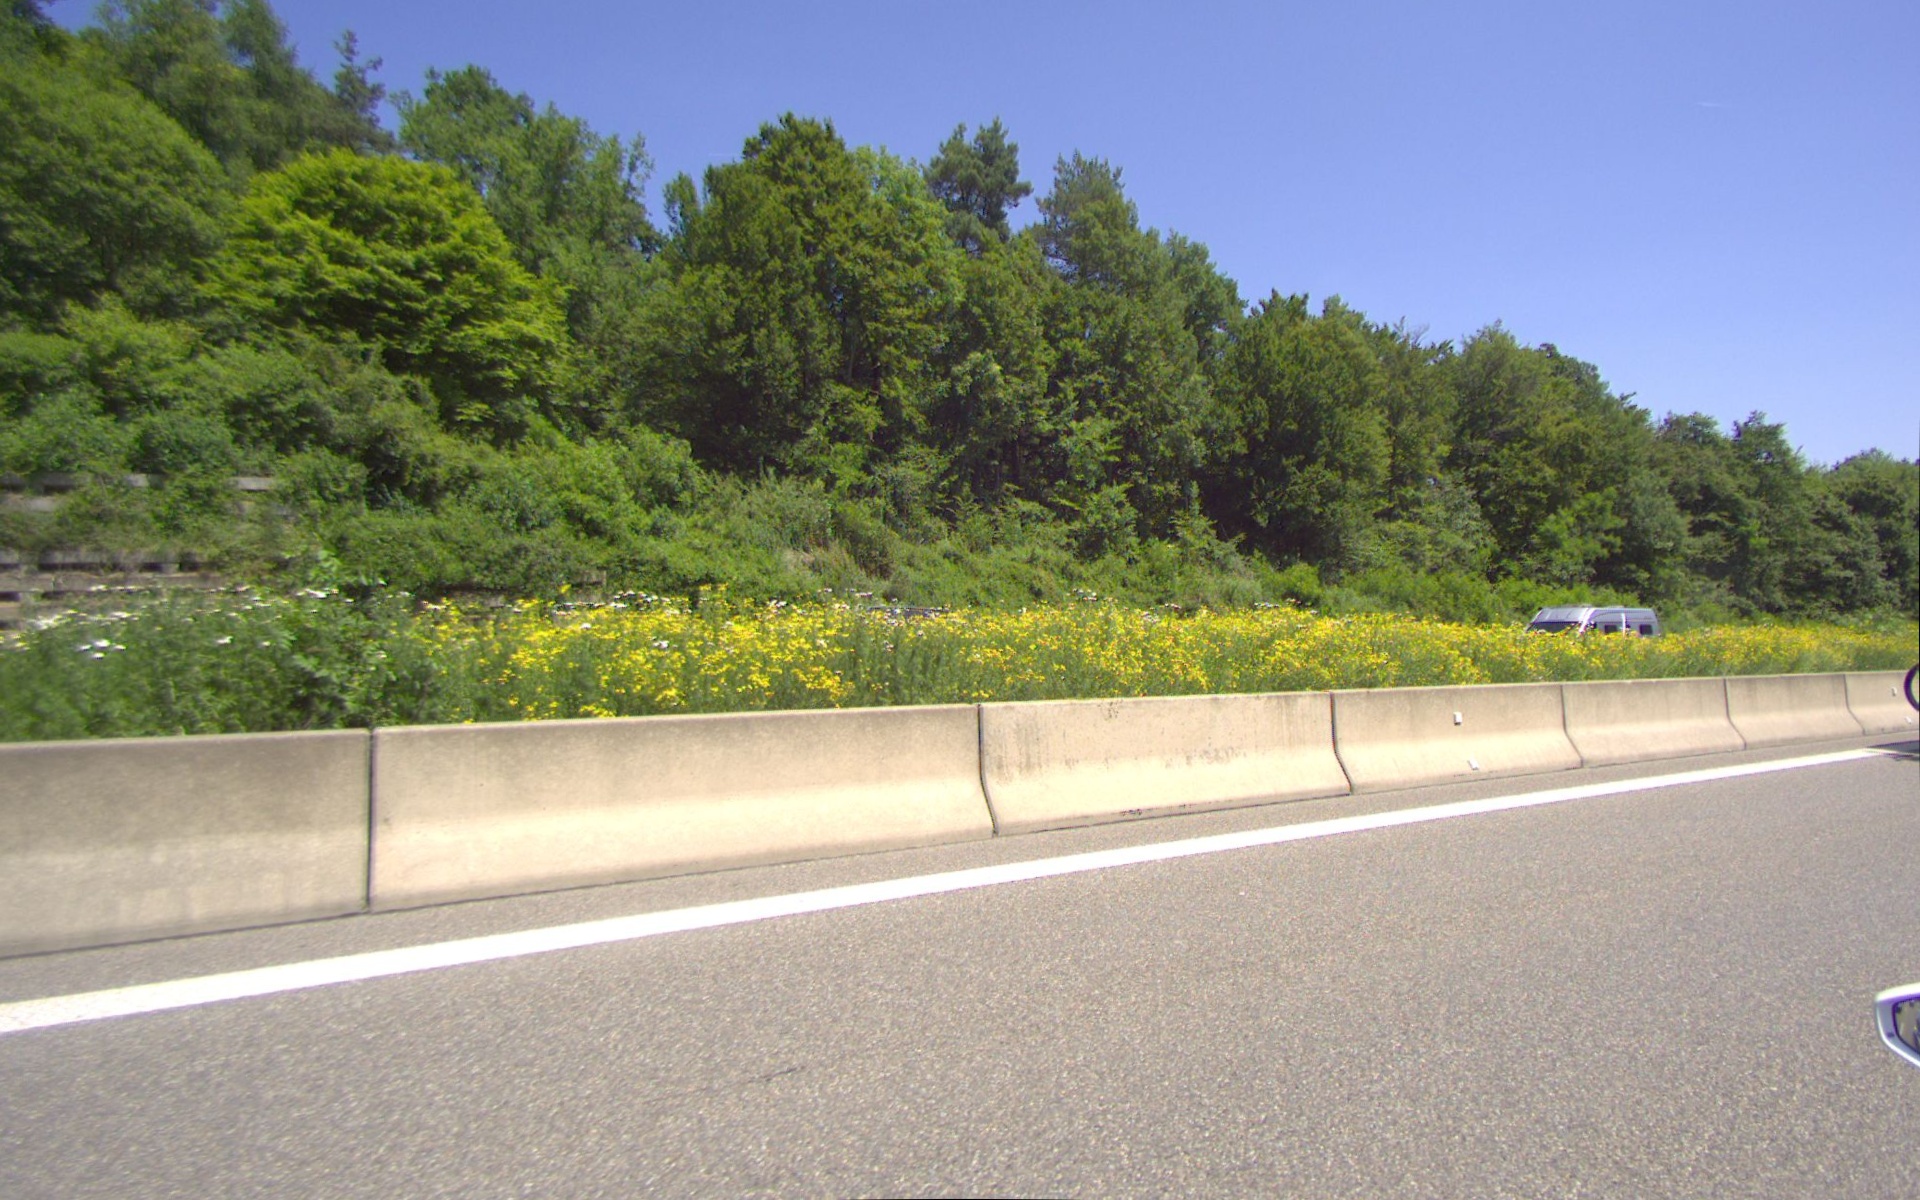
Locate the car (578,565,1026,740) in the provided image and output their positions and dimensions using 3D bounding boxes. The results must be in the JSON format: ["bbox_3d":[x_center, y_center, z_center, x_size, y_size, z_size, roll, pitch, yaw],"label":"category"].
[{"bbox_3d":[-1.773,0.570,11.803,4.837,1.712,1.841,2,0,-29],"label":"car"}]

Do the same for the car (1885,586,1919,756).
[{"bbox_3d":[13.250,0.843,11.923,5.420,1.872,1.888,1,0,-31],"label":"car"}]

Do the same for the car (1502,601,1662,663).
[{"bbox_3d":[20.393,1.055,32.864,5.440,1.831,2.035,2,0,-29],"label":"car"}]
